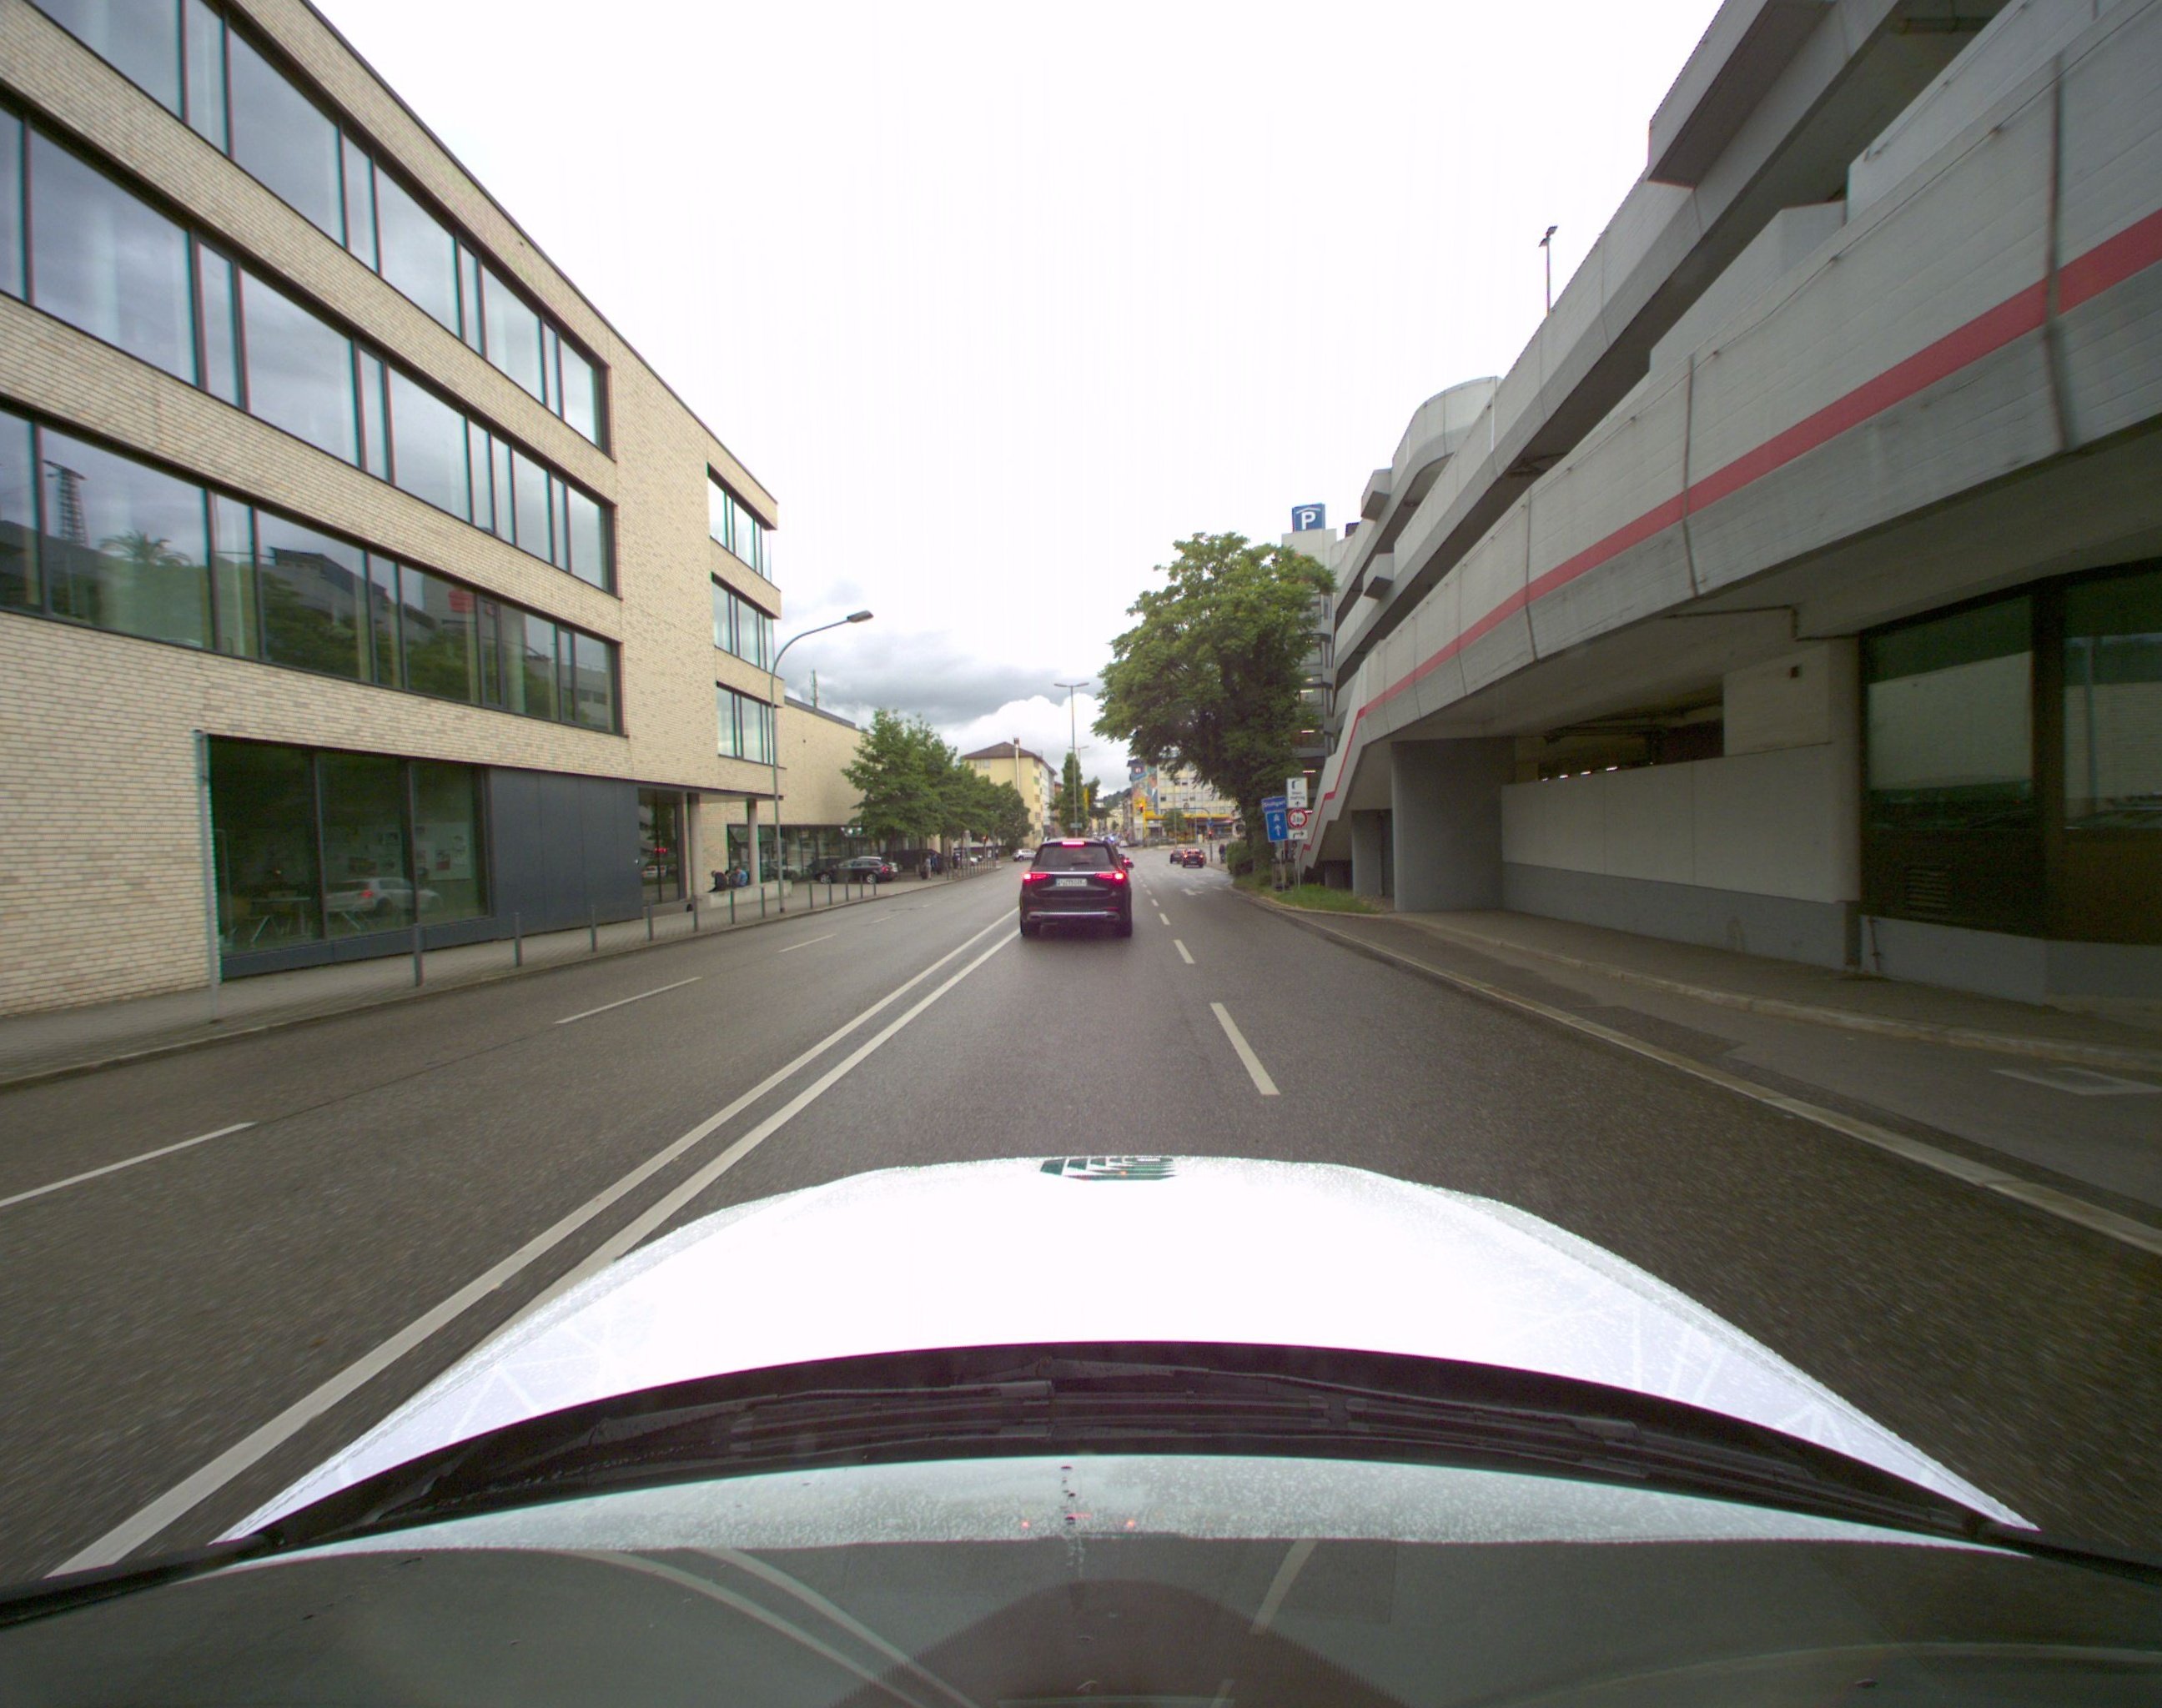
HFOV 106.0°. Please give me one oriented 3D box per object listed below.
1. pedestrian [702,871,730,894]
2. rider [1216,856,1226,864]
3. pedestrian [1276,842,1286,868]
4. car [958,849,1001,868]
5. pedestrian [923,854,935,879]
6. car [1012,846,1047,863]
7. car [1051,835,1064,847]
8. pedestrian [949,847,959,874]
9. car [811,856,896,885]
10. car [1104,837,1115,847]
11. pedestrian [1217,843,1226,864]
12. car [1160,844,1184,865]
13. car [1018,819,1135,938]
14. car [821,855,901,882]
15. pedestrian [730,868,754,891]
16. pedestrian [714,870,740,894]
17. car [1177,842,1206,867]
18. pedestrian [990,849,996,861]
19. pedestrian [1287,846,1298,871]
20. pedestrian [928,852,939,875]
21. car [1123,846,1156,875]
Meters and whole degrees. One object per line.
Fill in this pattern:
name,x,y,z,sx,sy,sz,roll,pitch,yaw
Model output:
pedestrian,-12.917,0.996,28.837,0.595,0.786,0.760,0,-1,2
rider,12.771,0.540,74.059,0.624,0.740,0.700,-1,-1,43
pedestrian,11.998,0.044,48.967,0.548,1.532,0.489,0,-1,8
car,-11.685,0.544,94.055,4.798,2.013,1.996,-1,1,-6
pedestrian,-10.276,0.828,55.069,0.673,1.697,0.479,0,-1,1
car,-6.302,0.085,99.303,3.987,1.942,1.993,-1,0,-10
car,-3.831,-2.141,135.286,1.987,1.875,5.142,0,-1,1
pedestrian,-9.390,0.475,60.384,0.586,2.014,0.749,0,-1,0
car,-13.383,0.964,48.106,4.459,1.587,1.997,-1,0,-4
car,5.622,-2.356,161.047,1.986,2.013,4.001,0,1,1
pedestrian,12.877,-0.059,74.593,0.657,1.917,0.732,0,-1,16
car,9.104,0.041,81.502,1.986,2.014,4.000,0,-1,1
car,-0.033,0.434,15.847,1.986,2.014,4.001,0,-1,1
car,-13.532,0.869,50.229,4.406,1.573,1.998,0,2,-3
pedestrian,-12.878,0.960,30.927,0.678,0.886,0.524,0,-1,2
pedestrian,-12.870,1.009,29.612,0.584,0.845,0.728,-1,-1,2
car,9.430,0.068,69.555,1.987,2.014,4.000,-1,-1,1
pedestrian,-10.916,0.094,100.787,0.708,1.462,0.598,0,-1,1
pedestrian,12.733,0.277,48.997,0.579,1.501,0.505,0,-1,7
pedestrian,-11.276,0.723,62.238,0.686,1.726,0.754,0,-2,1
car,3.497,0.384,48.897,1.698,1.716,3.442,0,-1,-1
